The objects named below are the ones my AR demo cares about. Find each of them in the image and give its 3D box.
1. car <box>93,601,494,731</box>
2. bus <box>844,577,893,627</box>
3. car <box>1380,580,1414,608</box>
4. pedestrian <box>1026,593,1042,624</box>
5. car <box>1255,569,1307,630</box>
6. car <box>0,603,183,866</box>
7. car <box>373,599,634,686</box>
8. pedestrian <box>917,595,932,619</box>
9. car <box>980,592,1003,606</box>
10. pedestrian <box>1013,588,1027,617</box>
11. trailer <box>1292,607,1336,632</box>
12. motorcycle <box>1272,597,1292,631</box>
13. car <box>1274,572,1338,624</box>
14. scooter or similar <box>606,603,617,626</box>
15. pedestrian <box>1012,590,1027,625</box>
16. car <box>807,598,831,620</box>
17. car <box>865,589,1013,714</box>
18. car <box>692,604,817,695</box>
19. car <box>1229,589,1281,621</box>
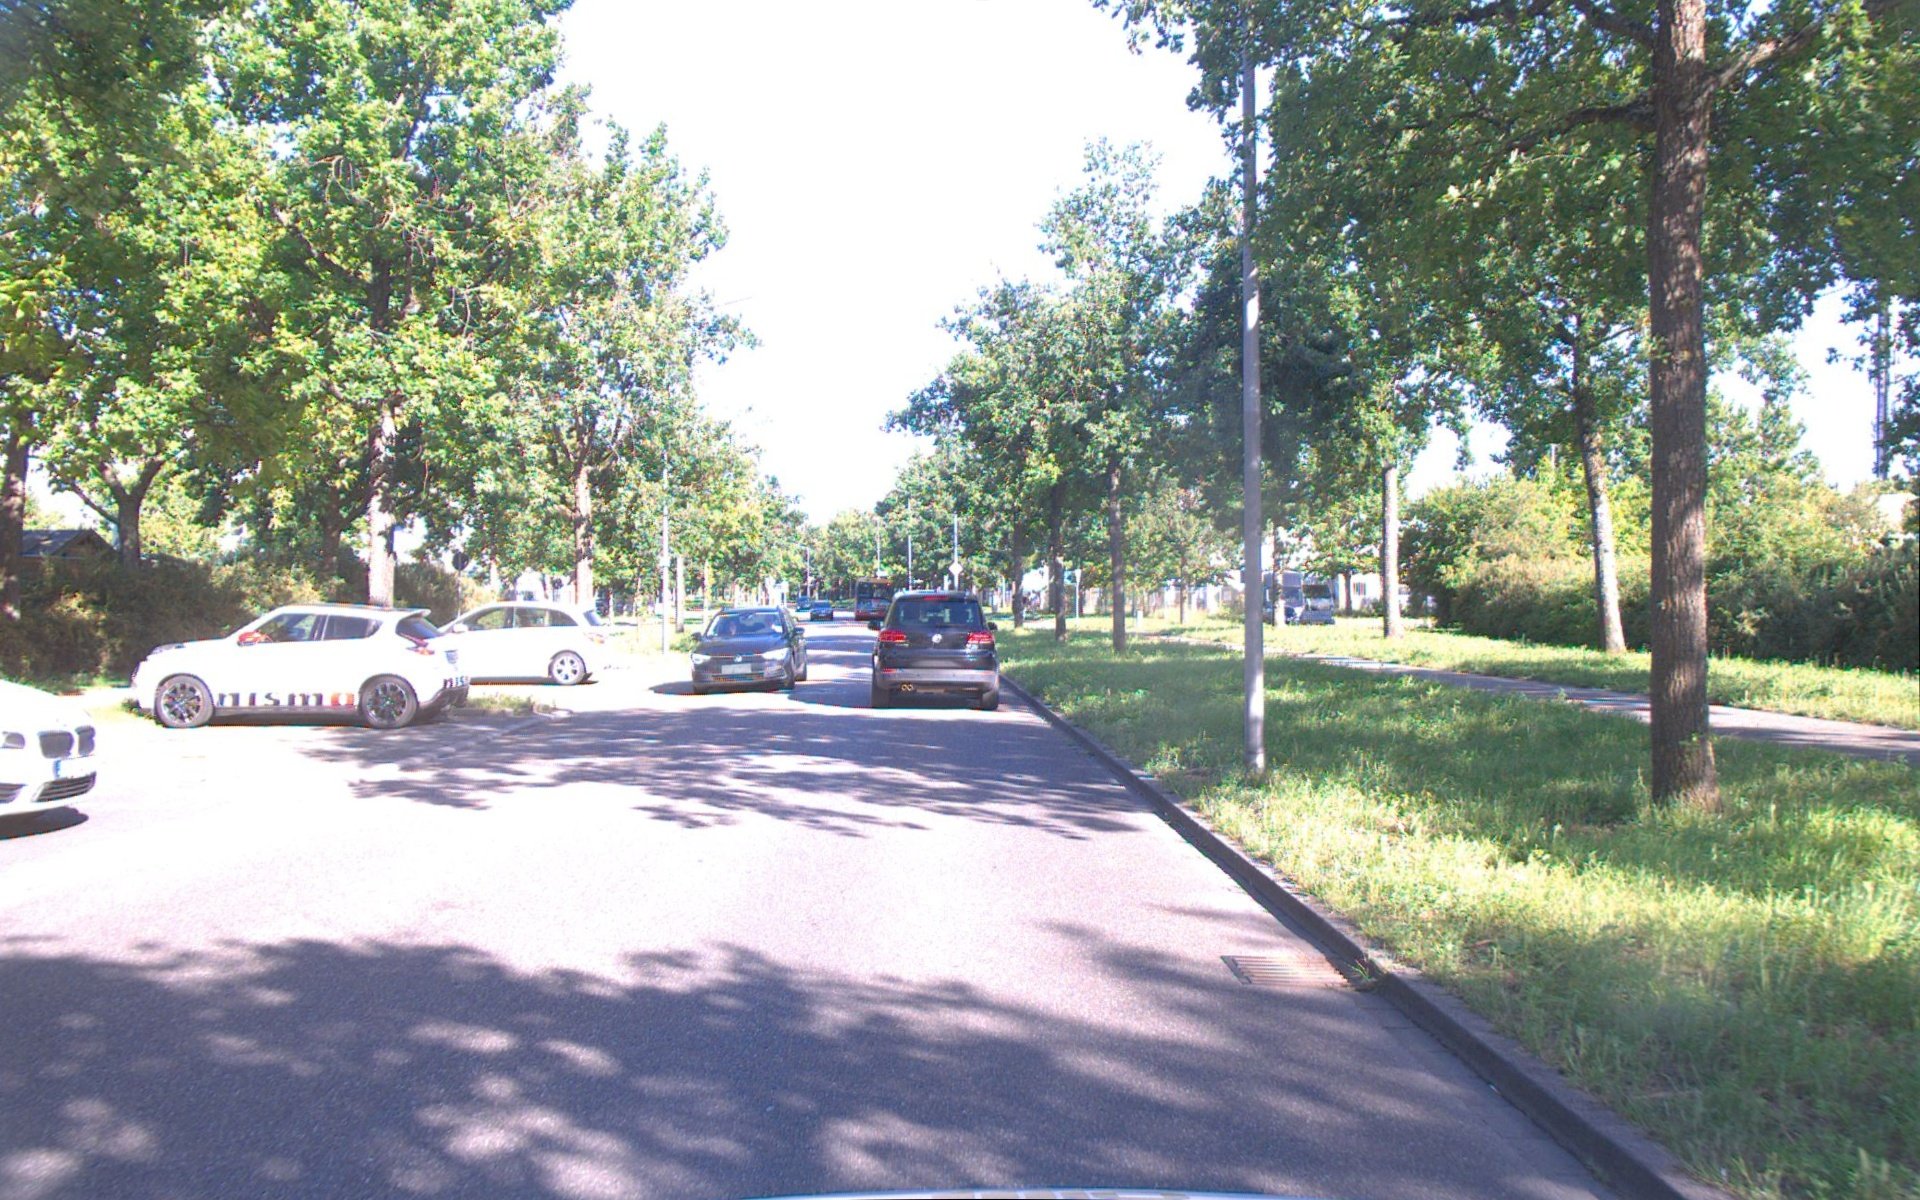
[{"bbox_3d":[-8.473,0.813,21.380,4.324,1.537,2.087,1,0,-3],"label":"car"},{"bbox_3d":[-6.887,0.097,123.308,2.712,3.517,11.191,-1,0,-8],"label":"bus"},{"bbox_3d":[26.342,-0.370,99.774,1.796,1.668,4.003,-1,0,13],"label":"car"},{"bbox_3d":[4.306,0.477,96.105,0.711,1.786,0.867,-3,0,-5],"label":"pedestrian"},{"bbox_3d":[15.408,-0.103,79.721,2.040,2.610,5.978,1,3,7],"label":"car"},{"bbox_3d":[-7.892,0.805,11.115,4.322,1.583,2.088,1,0,-1],"label":"car"},{"bbox_3d":[-8.745,0.803,32.073,4.537,1.585,2.188,1,0,-7],"label":"car"},{"bbox_3d":[-2.585,0.518,120.570,0.999,1.680,1.098,-1,0,-5],"label":"pedestrian"},{"bbox_3d":[4.061,-0.092,216.448,2.144,1.774,4.631,-1,0,-10],"label":"car"},{"bbox_3d":[3.460,0.138,95.159,0.711,1.631,0.866,-1,0,-5],"label":"pedestrian"},{"bbox_3d":[14.407,0.784,67.384,1.545,0.883,2.055,-1,-4,8],"label":"trailer"},{"bbox_3d":[13.474,0.599,69.262,0.648,1.253,2.407,-1,-4,7],"label":"motorcycle"},{"bbox_3d":[18.836,-0.113,90.137,2.118,2.689,4.846,-1,0,-4],"label":"car"},{"bbox_3d":[-20.301,0.836,96.344,0.387,1.301,1.440,-1,0,-4],"label":"scooter or similar"},{"bbox_3d":[3.223,0.393,89.644,0.711,1.843,0.867,-1,2,-5],"label":"pedestrian"},{"bbox_3d":[-10.621,0.655,124.808,1.731,1.555,4.491,-2,1,-5],"label":"car"},{"bbox_3d":[-0.406,0.688,24.694,1.898,1.685,4.423,1,0,-5],"label":"car"},{"bbox_3d":[-3.630,0.834,29.929,1.649,1.426,4.427,-2,0,0],"label":"car"},{"bbox_3d":[16.222,0.243,91.017,1.966,1.693,3.593,-1,0,-4],"label":"car"}]
